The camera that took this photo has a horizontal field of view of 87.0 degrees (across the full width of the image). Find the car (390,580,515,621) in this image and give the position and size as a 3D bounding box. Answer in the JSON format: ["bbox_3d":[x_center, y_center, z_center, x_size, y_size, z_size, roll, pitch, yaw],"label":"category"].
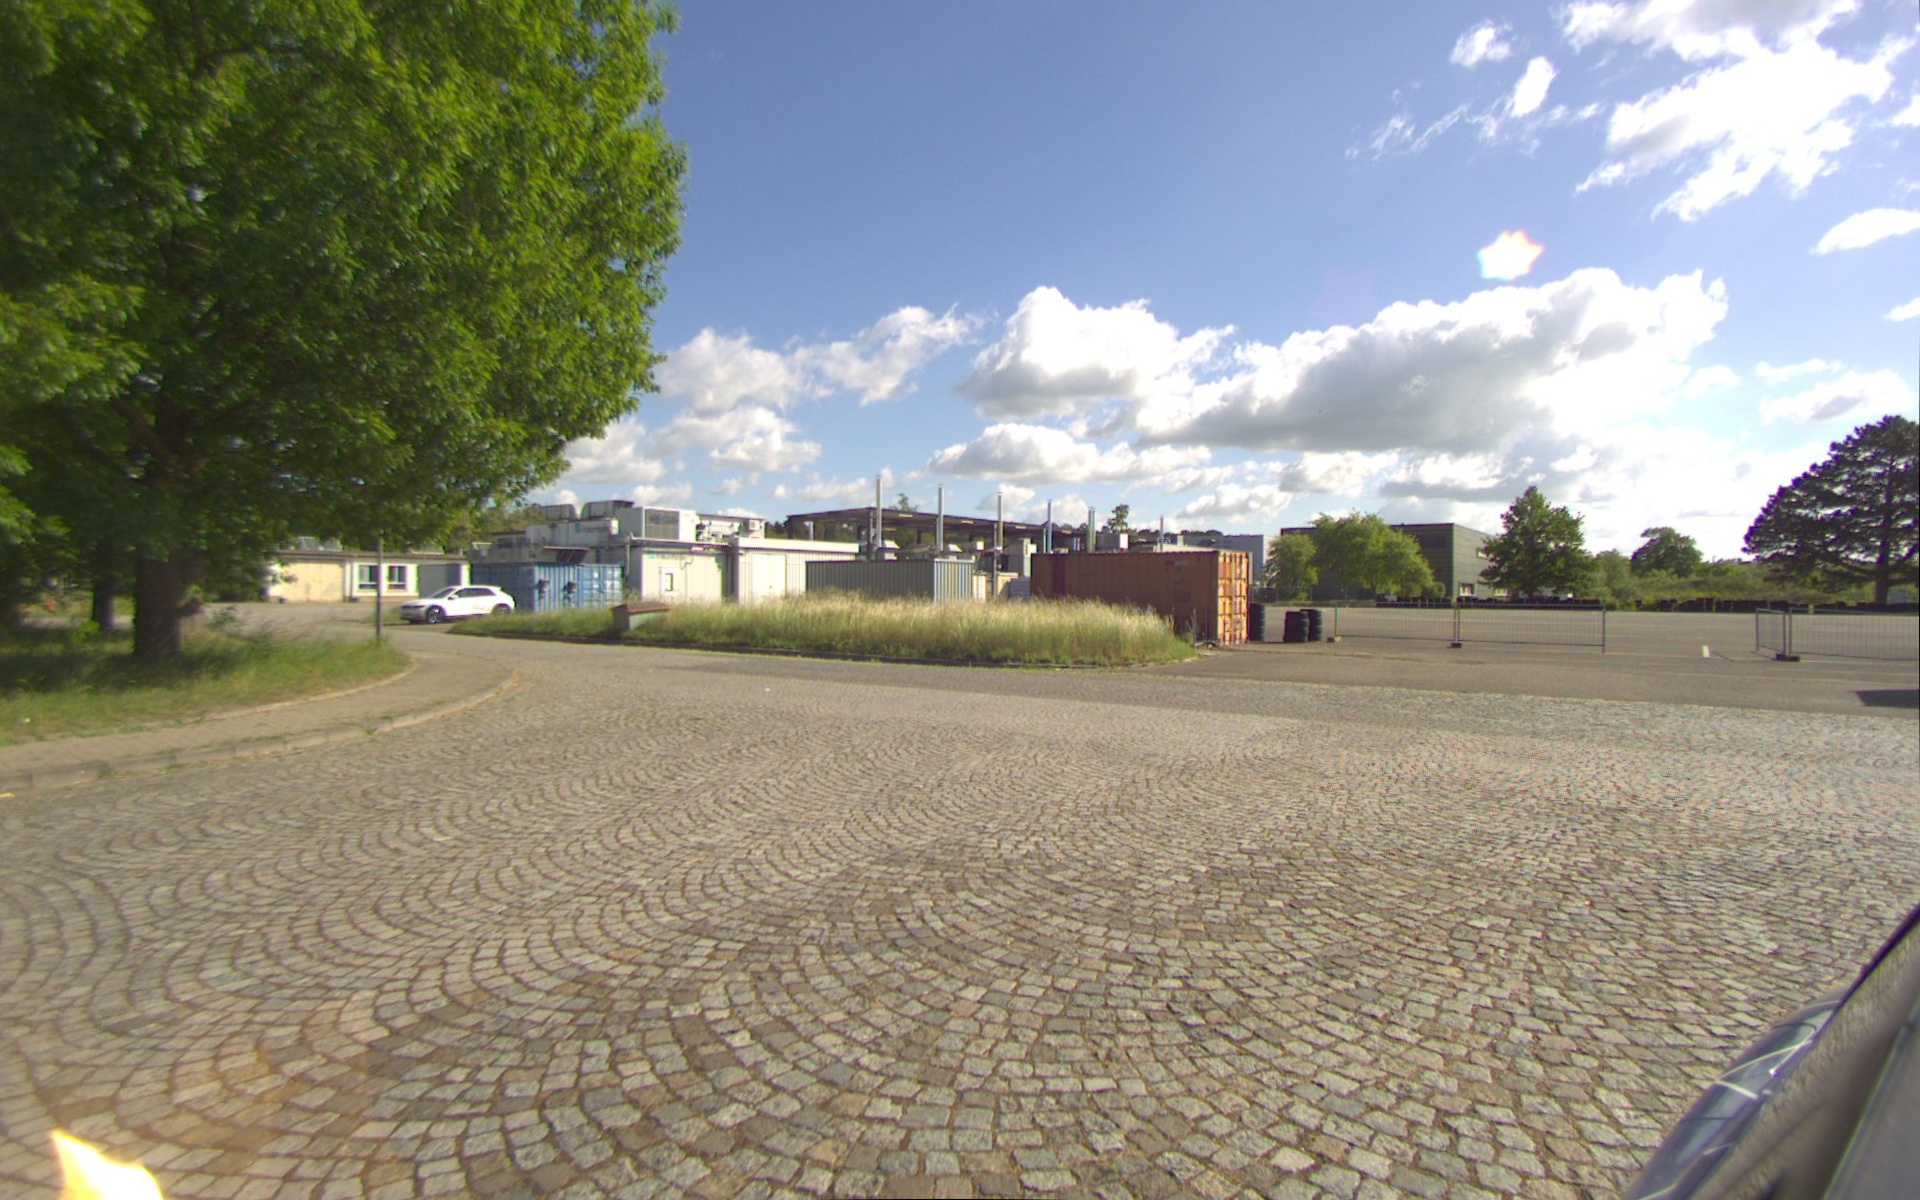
[{"bbox_3d":[-21.922,-0.027,43.864,1.987,1.668,4.463,1,1,35],"label":"car"}]
